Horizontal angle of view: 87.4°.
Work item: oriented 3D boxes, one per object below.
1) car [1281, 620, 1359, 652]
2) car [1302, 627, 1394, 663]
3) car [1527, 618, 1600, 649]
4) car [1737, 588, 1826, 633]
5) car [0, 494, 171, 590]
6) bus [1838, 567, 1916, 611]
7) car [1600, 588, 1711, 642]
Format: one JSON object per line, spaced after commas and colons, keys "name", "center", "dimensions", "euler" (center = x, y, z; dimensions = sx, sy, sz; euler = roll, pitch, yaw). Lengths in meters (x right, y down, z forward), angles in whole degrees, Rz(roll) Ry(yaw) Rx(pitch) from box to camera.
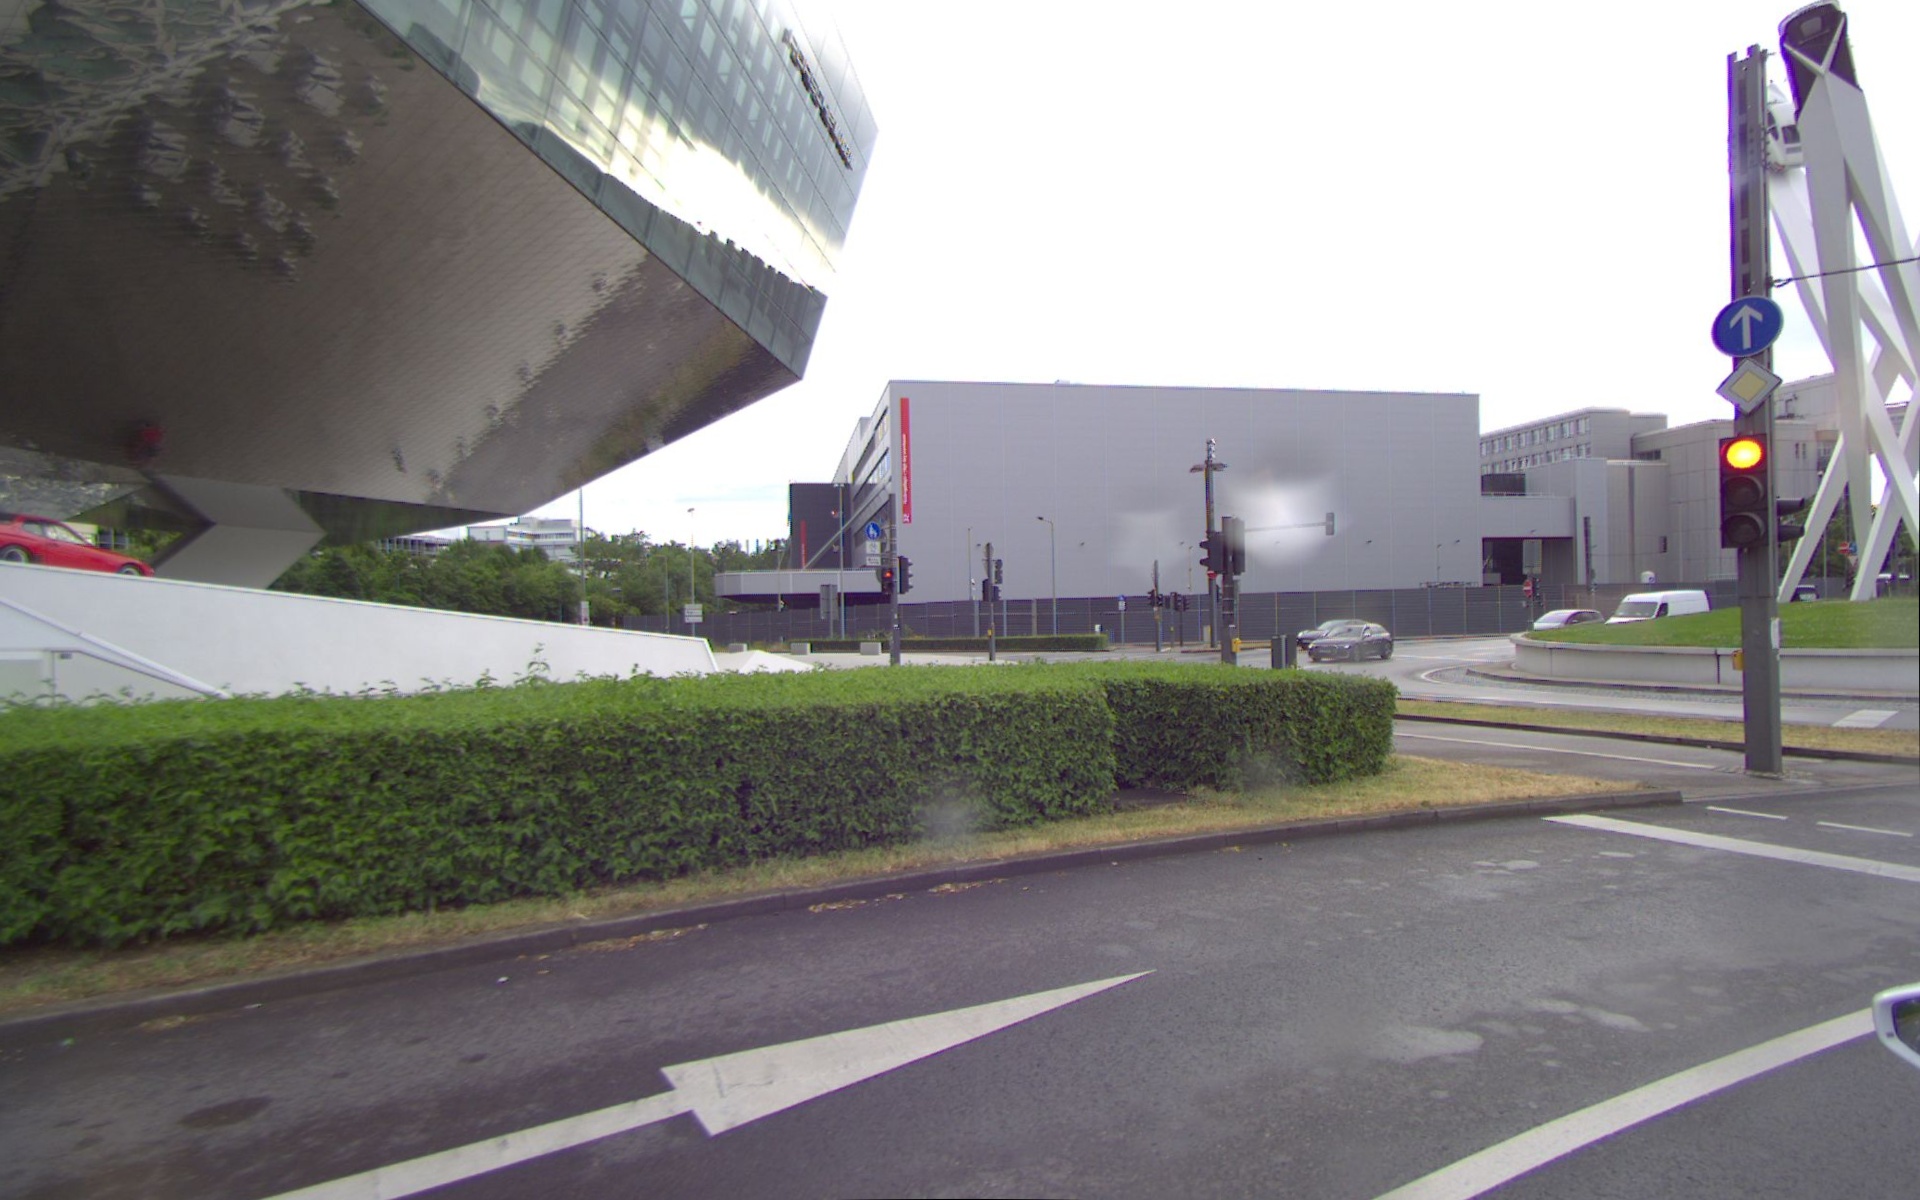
{"name": "car", "center": [17.696, 1.734, 49.233], "dimensions": [4.482, 1.491, 1.816], "euler": [1, -1, -44]}
{"name": "car", "center": [15.931, 1.801, 41.162], "dimensions": [3.967, 1.356, 1.830], "euler": [1, -1, -40]}
{"name": "car", "center": [30.983, 1.713, 51.529], "dimensions": [3.960, 1.514, 1.821], "euler": [1, -1, -35]}
{"name": "car", "center": [53.942, 0.698, 65.912], "dimensions": [7.037, 2.858, 1.959], "euler": [1, -1, -28]}
{"name": "car", "center": [-18.345, -1.117, 20.041], "dimensions": [1.605, 1.258, 4.108], "euler": [0, -8, 6]}
{"name": "bus", "center": [75.057, -0.805, 82.084], "dimensions": [12.555, 3.243, 2.649], "euler": [1, -1, -38]}
{"name": "car", "center": [33.186, 0.713, 47.914], "dimensions": [5.353, 2.479, 1.988], "euler": [0, -1, -25]}
